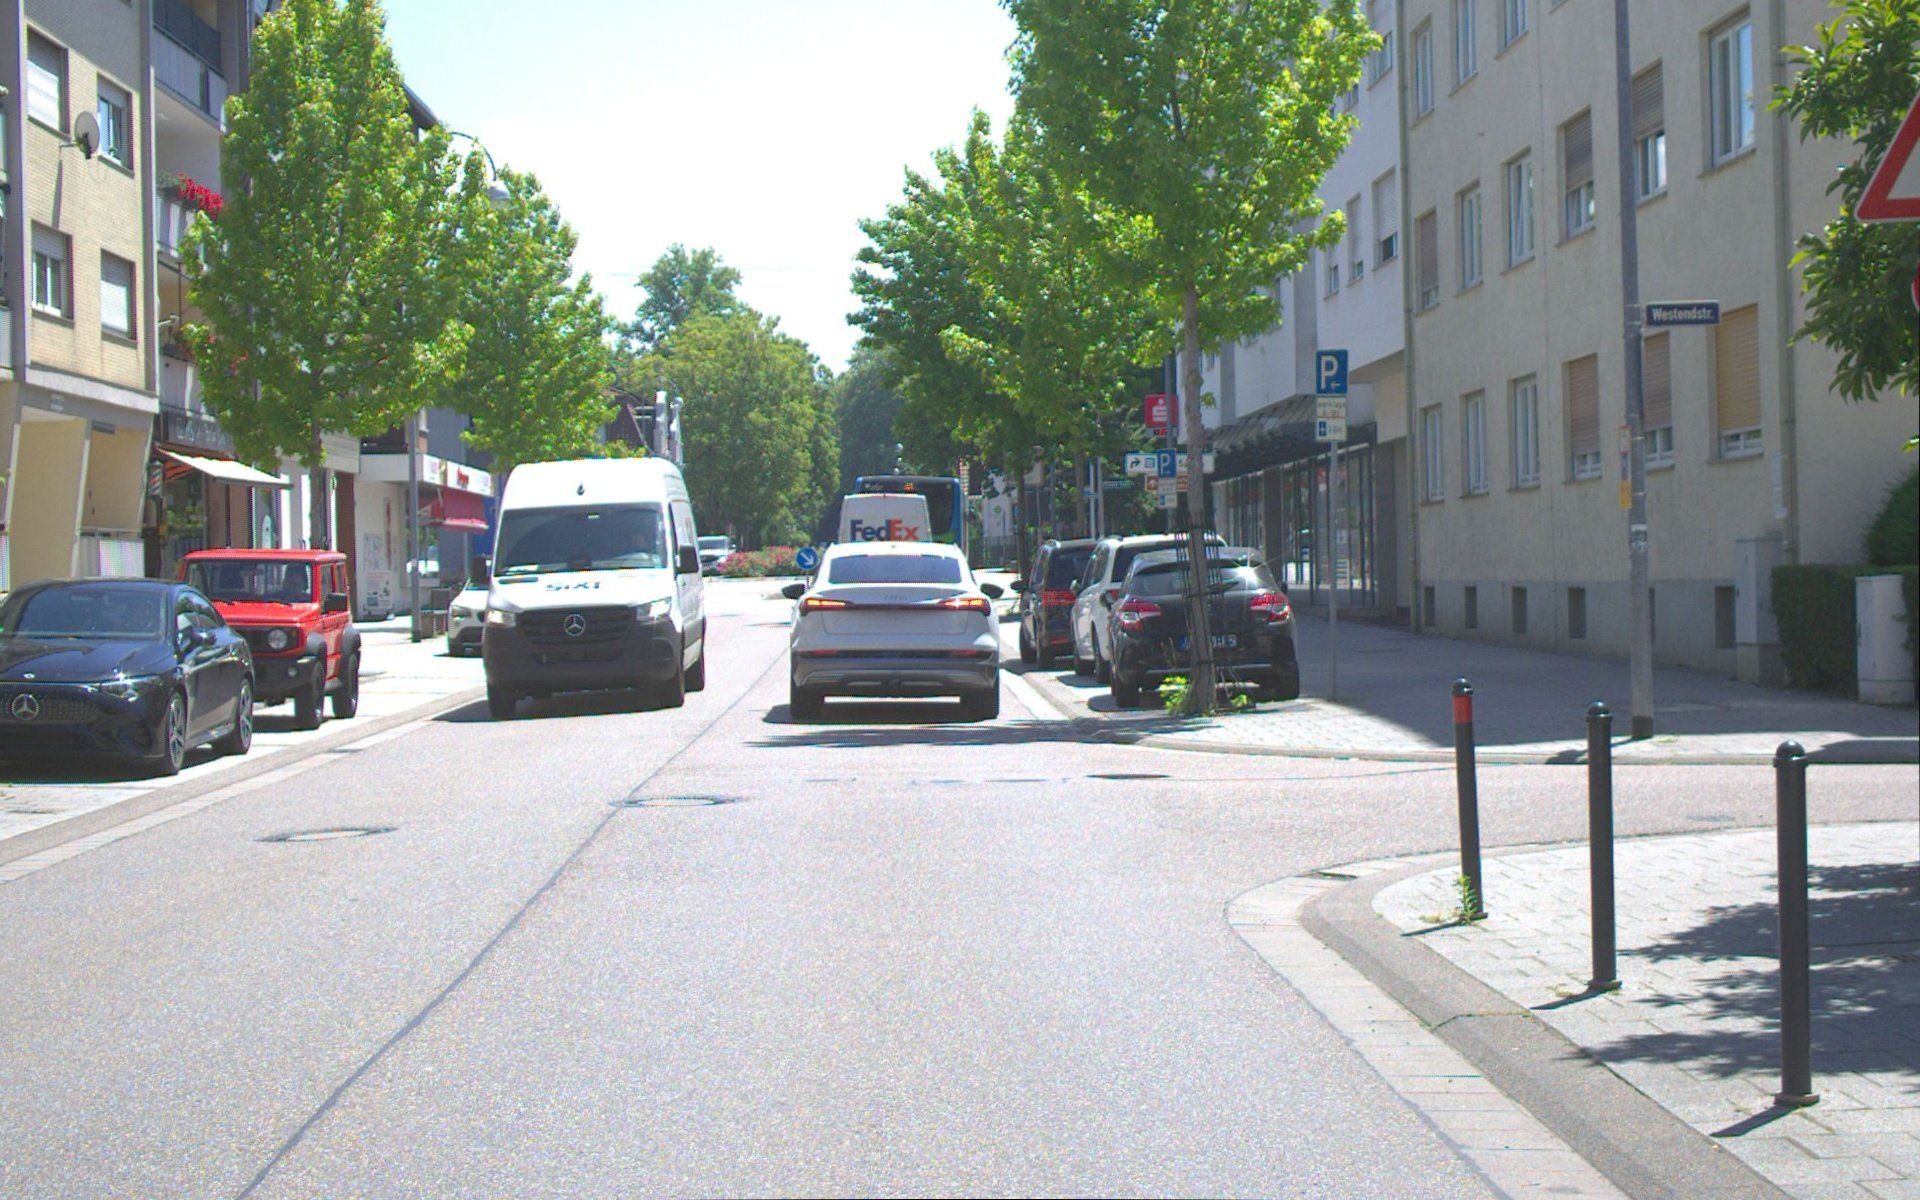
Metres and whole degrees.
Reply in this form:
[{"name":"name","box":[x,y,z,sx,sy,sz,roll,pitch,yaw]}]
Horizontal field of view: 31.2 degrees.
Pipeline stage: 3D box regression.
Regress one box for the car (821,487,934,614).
[{"name":"car","box":[-1.645,-0.983,69.163,2.156,2.433,5.284,1,0,-1]}]

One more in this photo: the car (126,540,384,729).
[{"name":"car","box":[-6.767,0.288,33.366,1.752,1.696,4.102,1,1,-2]}]

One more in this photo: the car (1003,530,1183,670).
[{"name":"car","box":[1.710,-0.034,45.677,1.855,1.669,4.537,-3,1,-4]}]

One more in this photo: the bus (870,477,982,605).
[{"name":"bus","box":[-0.830,-1.518,90.558,2.661,3.199,7.451,1,0,1]}]

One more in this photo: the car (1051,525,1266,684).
[{"name":"car","box":[2.257,0.014,40.339,1.896,1.669,4.691,-3,1,-4]}]

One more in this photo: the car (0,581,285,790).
[{"name":"car","box":[-6.664,0.594,26.894,1.896,1.412,5.048,1,1,-2]}]

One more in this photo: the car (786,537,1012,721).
[{"name":"car","box":[-0.624,0.232,32.443,1.993,1.627,4.000,0,1,-2]}]

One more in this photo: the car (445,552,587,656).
[{"name":"car","box":[-7.278,0.032,56.673,1.752,1.612,4.401,1,1,0]}]

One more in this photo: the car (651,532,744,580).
[{"name":"car","box":[-9.837,-1.658,129.115,1.867,1.751,3.995,1,0,22]}]

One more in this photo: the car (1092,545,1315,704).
[{"name":"car","box":[2.348,0.188,34.199,1.896,1.433,4.544,-1,1,0]}]

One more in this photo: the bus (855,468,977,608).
[{"name":"bus","box":[-1.004,-1.462,83.204,2.661,3.210,7.301,1,0,1]}]

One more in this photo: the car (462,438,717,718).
[{"name":"car","box":[-3.868,-0.269,37.139,2.036,2.621,7.108,-3,1,-2]}]
